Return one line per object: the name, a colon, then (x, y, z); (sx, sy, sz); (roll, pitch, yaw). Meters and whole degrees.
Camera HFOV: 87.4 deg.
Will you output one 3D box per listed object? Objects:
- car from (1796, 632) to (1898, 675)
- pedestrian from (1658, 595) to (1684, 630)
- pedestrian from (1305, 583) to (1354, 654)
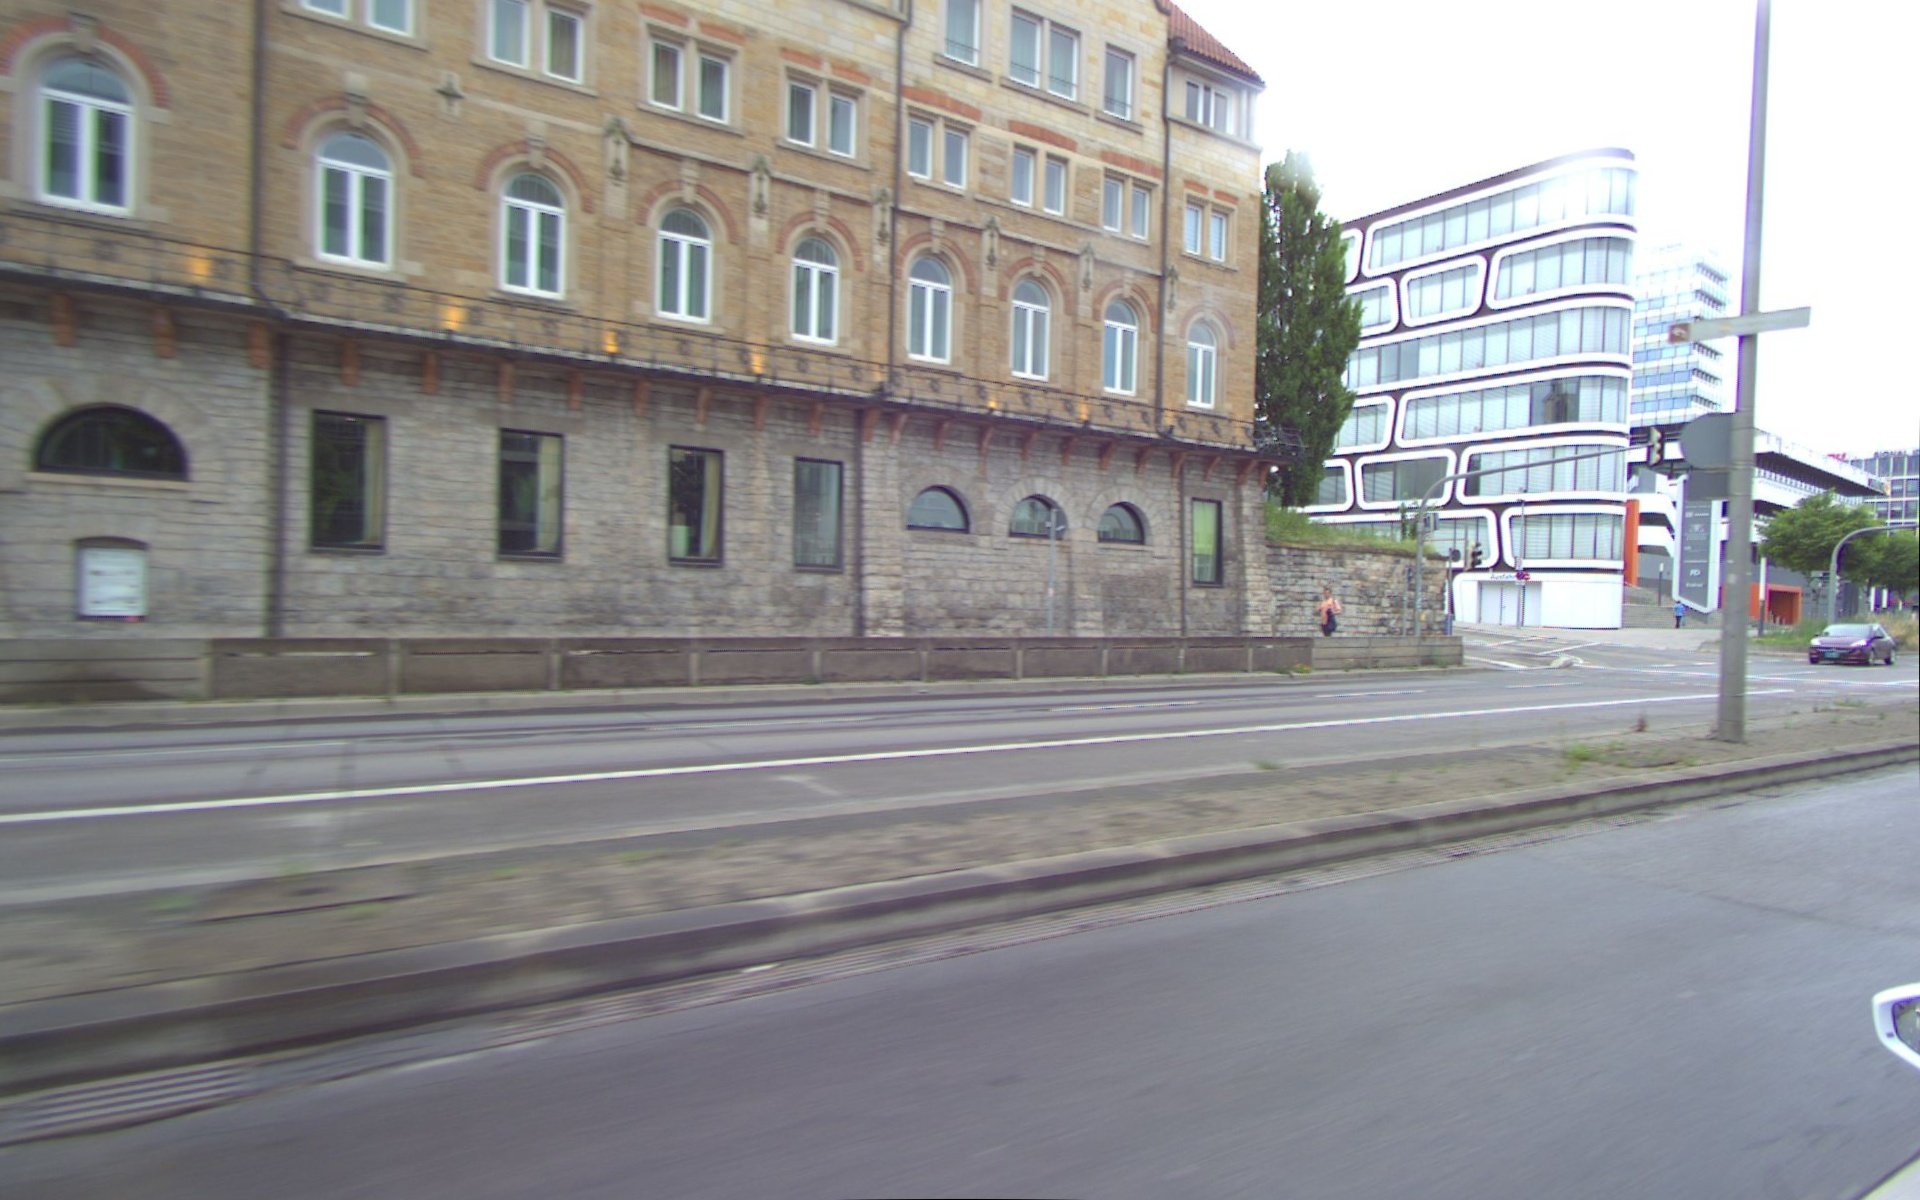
car: (31.505, 1.867, 35.659); (3.683, 1.426, 1.739); (1, 0, -32)
pedestrian: (41.799, 0.718, 59.039); (0.707, 2.040, 1.024); (-1, 0, -31)
pedestrian: (10.175, 0.505, 27.668); (1.040, 1.892, 0.883); (-1, 0, 4)
